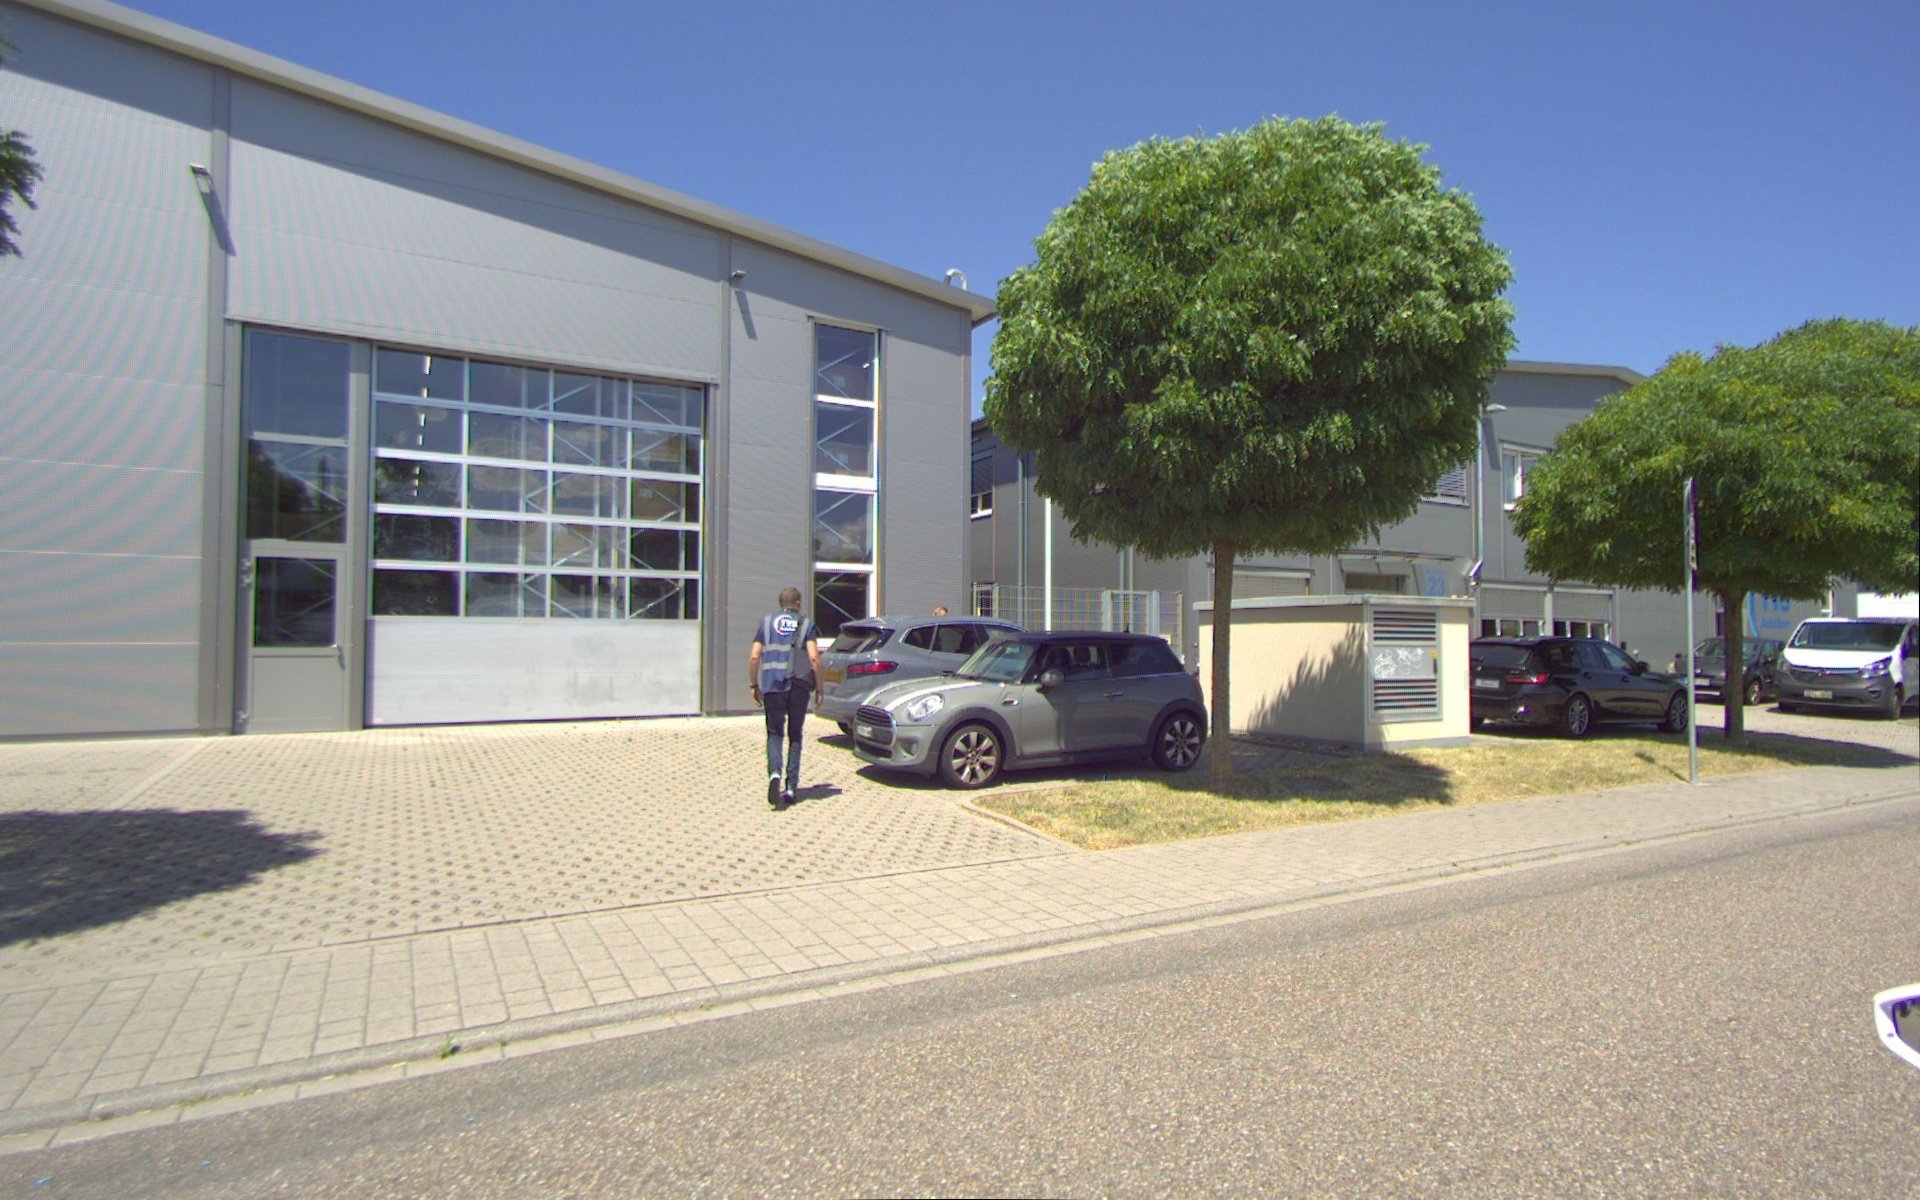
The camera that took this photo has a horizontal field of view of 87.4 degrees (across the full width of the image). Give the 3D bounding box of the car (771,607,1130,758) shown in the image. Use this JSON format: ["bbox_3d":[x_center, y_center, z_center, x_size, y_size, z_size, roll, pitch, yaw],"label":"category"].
[{"bbox_3d":[-0.065,0.965,12.846,4.295,1.649,1.728,2,-1,-29],"label":"car"}]

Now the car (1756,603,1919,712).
[{"bbox_3d":[18.687,1.149,20.870,5.069,2.045,1.827,2,-2,-32],"label":"car"}]

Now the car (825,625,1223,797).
[{"bbox_3d":[0.699,1.030,10.446,3.793,1.473,1.758,2,-1,-29],"label":"car"}]

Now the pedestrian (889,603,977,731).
[{"bbox_3d":[-0.387,0.925,14.202,0.953,1.736,0.836,1,-1,-30],"label":"pedestrian"}]

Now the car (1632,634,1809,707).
[{"bbox_3d":[17.543,1.571,23.144,4.041,1.460,1.916,2,0,-32],"label":"car"}]

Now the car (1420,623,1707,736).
[{"bbox_3d":[9.378,1.154,15.507,4.658,1.473,1.757,2,0,-30],"label":"car"}]

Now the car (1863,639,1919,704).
[{"bbox_3d":[23.437,1.706,23.574,4.783,1.459,1.919,3,-3,-29],"label":"car"}]

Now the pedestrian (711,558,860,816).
[{"bbox_3d":[-1.421,0.684,8.323,0.945,1.999,0.843,1,-1,10],"label":"pedestrian"}]
